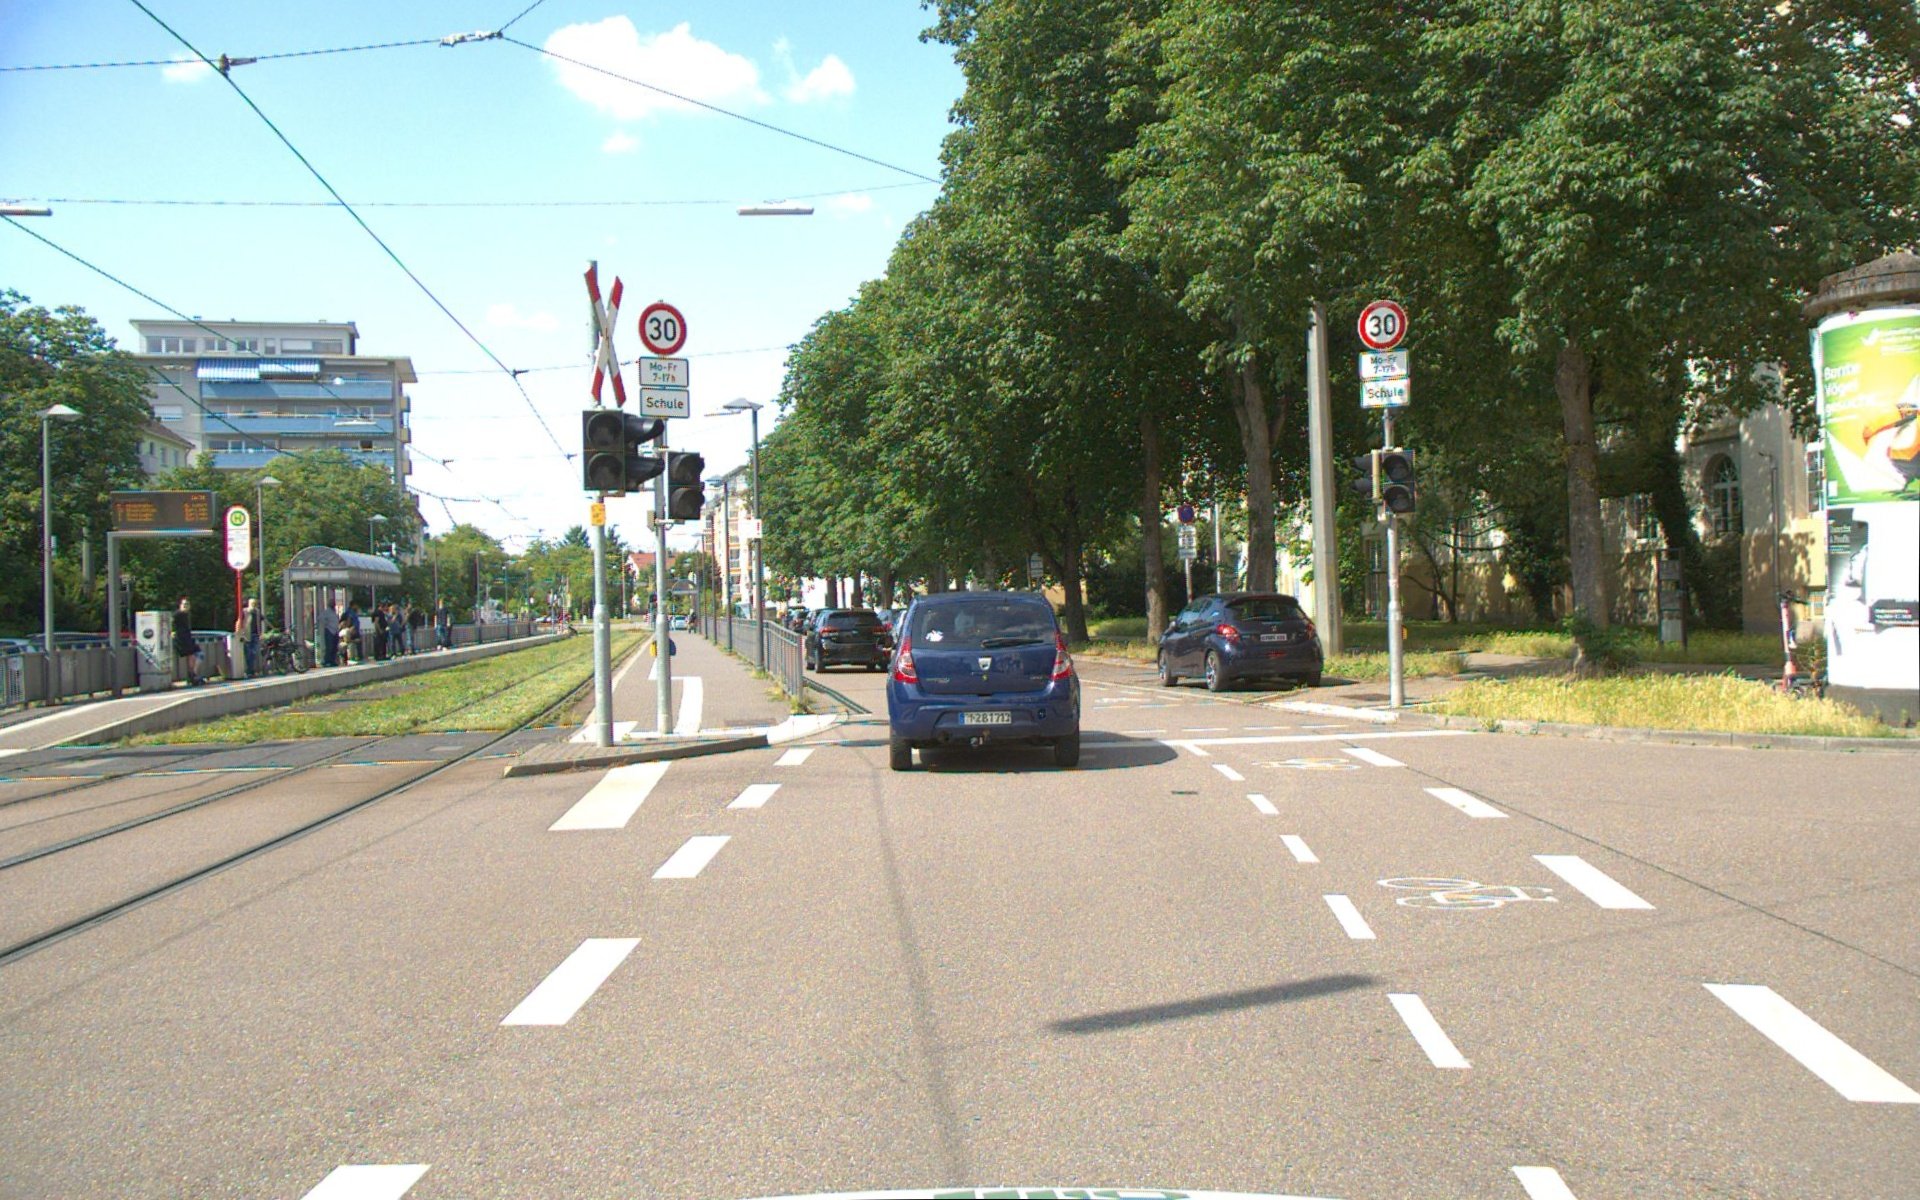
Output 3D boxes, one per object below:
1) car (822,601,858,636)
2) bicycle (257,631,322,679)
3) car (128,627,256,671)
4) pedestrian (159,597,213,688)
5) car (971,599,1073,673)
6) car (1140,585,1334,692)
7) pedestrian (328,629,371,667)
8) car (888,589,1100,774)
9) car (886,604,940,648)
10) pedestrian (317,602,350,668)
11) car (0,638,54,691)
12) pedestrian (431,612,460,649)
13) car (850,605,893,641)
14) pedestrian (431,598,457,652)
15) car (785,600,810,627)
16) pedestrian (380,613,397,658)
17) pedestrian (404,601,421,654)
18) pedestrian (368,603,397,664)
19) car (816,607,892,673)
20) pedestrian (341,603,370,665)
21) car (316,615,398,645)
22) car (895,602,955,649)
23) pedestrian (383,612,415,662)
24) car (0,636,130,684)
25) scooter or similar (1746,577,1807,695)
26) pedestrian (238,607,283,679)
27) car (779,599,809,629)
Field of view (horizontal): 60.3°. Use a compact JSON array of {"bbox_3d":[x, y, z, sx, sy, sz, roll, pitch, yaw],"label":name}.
[{"bbox_3d":[-6.495,0.989,89.109,1.587,1.780,3.992,-2,0,-9],"label":"car"},{"bbox_3d":[-15.266,1.239,37.710,0.672,0.991,1.771,-4,0,0],"label":"bicycle"},{"bbox_3d":[-28.593,1.813,61.698,1.684,1.391,3.981,-3,0,39],"label":"car"},{"bbox_3d":[-15.233,0.838,32.552,0.699,1.756,0.666,-2,0,32],"label":"pedestrian"},{"bbox_3d":[1.355,0.769,37.548,1.825,1.470,3.997,-4,0,-4],"label":"car"},{"bbox_3d":[4.228,0.570,25.853,1.734,1.458,3.894,-3,0,-10],"label":"car"},{"bbox_3d":[-16.896,1.321,45.791,0.907,1.006,0.796,-3,-1,-7],"label":"pedestrian"},{"bbox_3d":[0.264,0.674,15.623,1.732,1.487,3.775,-1,0,-1],"label":"car"},{"bbox_3d":[-1.810,0.946,62.627,1.815,1.542,3.997,-2,0,-4],"label":"car"},{"bbox_3d":[-16.731,0.918,44.190,0.643,1.722,0.655,-3,0,-9],"label":"pedestrian"},{"bbox_3d":[-25.534,1.720,42.921,1.425,1.332,3.239,-2,0,32],"label":"car"},{"bbox_3d":[-21.504,1.279,69.171,1.015,1.462,0.698,-3,0,-24],"label":"pedestrian"},{"bbox_3d":[-4.056,1.028,75.328,1.825,1.470,3.997,-3,0,-4],"label":"car"},{"bbox_3d":[-19.826,0.963,63.500,0.656,2.049,0.793,-2,0,-39],"label":"pedestrian"},{"bbox_3d":[-11.156,0.914,113.424,1.635,1.803,3.995,-2,0,-5],"label":"car"},{"bbox_3d":[-19.298,1.201,55.879,0.480,1.477,0.461,-3,0,-19],"label":"pedestrian"},{"bbox_3d":[-18.480,0.928,55.856,0.480,1.742,0.461,-3,0,-19],"label":"pedestrian"},{"bbox_3d":[-17.250,0.985,49.377,0.592,1.797,0.639,-2,0,0],"label":"pedestrian"},{"bbox_3d":[-2.497,0.891,38.304,1.667,1.392,3.511,-1,1,-5],"label":"car"},{"bbox_3d":[-17.631,0.987,48.227,0.582,1.766,0.556,-3,0,-5],"label":"pedestrian"},{"bbox_3d":[-33.410,1.671,91.690,3.970,1.472,1.700,-2,0,-44],"label":"car"},{"bbox_3d":[-1.270,0.867,57.991,1.825,1.470,3.997,-4,0,-4],"label":"car"},{"bbox_3d":[-16.946,1.117,49.959,0.641,1.450,0.562,-3,0,28],"label":"pedestrian"},{"bbox_3d":[-27.808,1.851,51.454,1.426,1.332,3.236,-2,0,34],"label":"car"},{"bbox_3d":[8.696,0.373,17.639,0.299,1.210,1.163,-2,0,13],"label":"scooter or similar"},{"bbox_3d":[-15.945,0.977,37.725,0.650,1.597,0.685,-3,0,-2],"label":"pedestrian"},{"bbox_3d":[-10.767,0.893,107.324,1.794,1.792,3.997,-2,0,-4],"label":"car"}]
